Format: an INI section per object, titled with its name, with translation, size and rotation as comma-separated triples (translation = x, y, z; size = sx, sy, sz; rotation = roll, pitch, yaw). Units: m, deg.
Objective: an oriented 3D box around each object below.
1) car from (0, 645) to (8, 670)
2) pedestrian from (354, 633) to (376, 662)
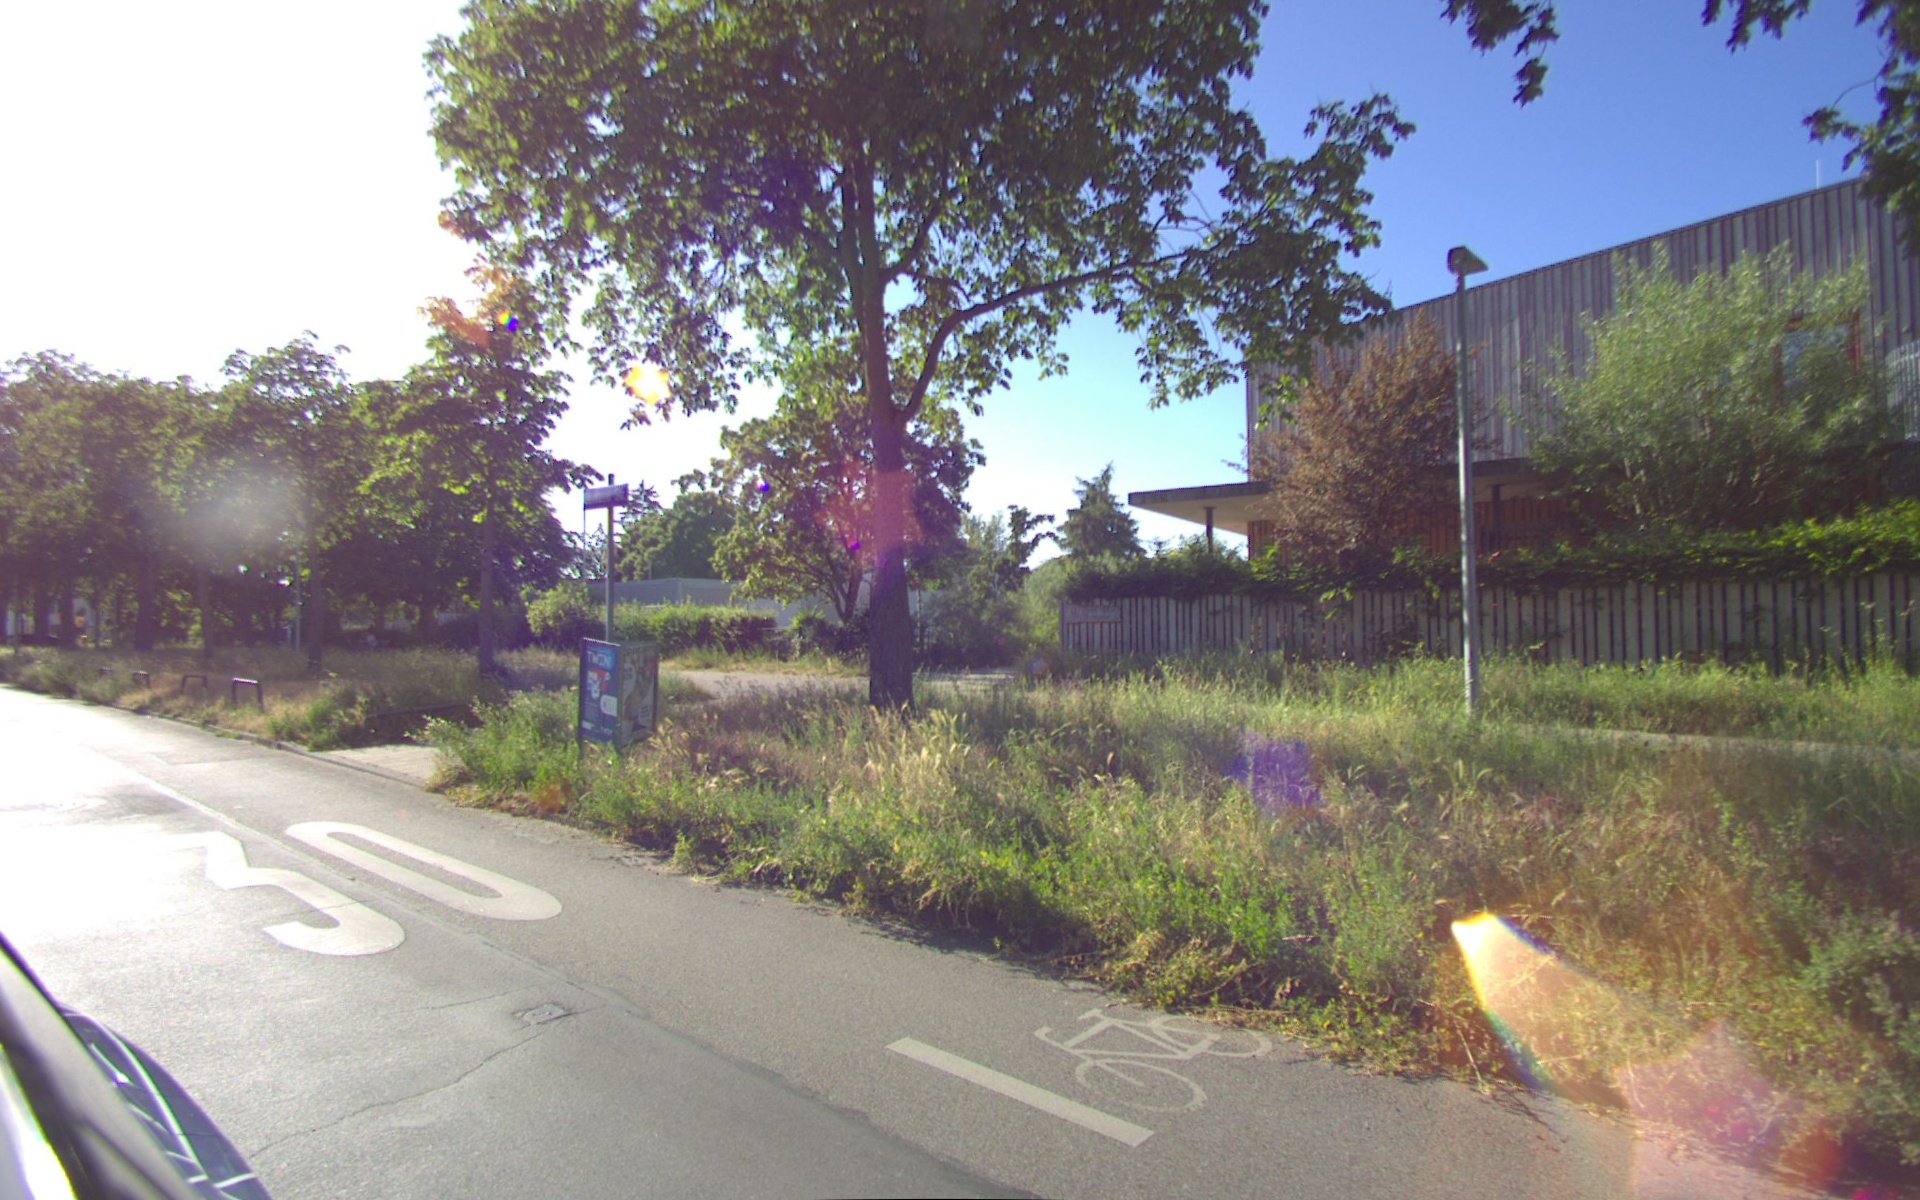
[car]
translation = -63.034, 3.697, 63.872
size = 1.999, 1.573, 4.149
rotation = -3, -2, 42
[pedestrian]
translation = -24.678, 1.956, 41.970
size = 0.521, 1.166, 0.631
rotation = -2, 1, 40
